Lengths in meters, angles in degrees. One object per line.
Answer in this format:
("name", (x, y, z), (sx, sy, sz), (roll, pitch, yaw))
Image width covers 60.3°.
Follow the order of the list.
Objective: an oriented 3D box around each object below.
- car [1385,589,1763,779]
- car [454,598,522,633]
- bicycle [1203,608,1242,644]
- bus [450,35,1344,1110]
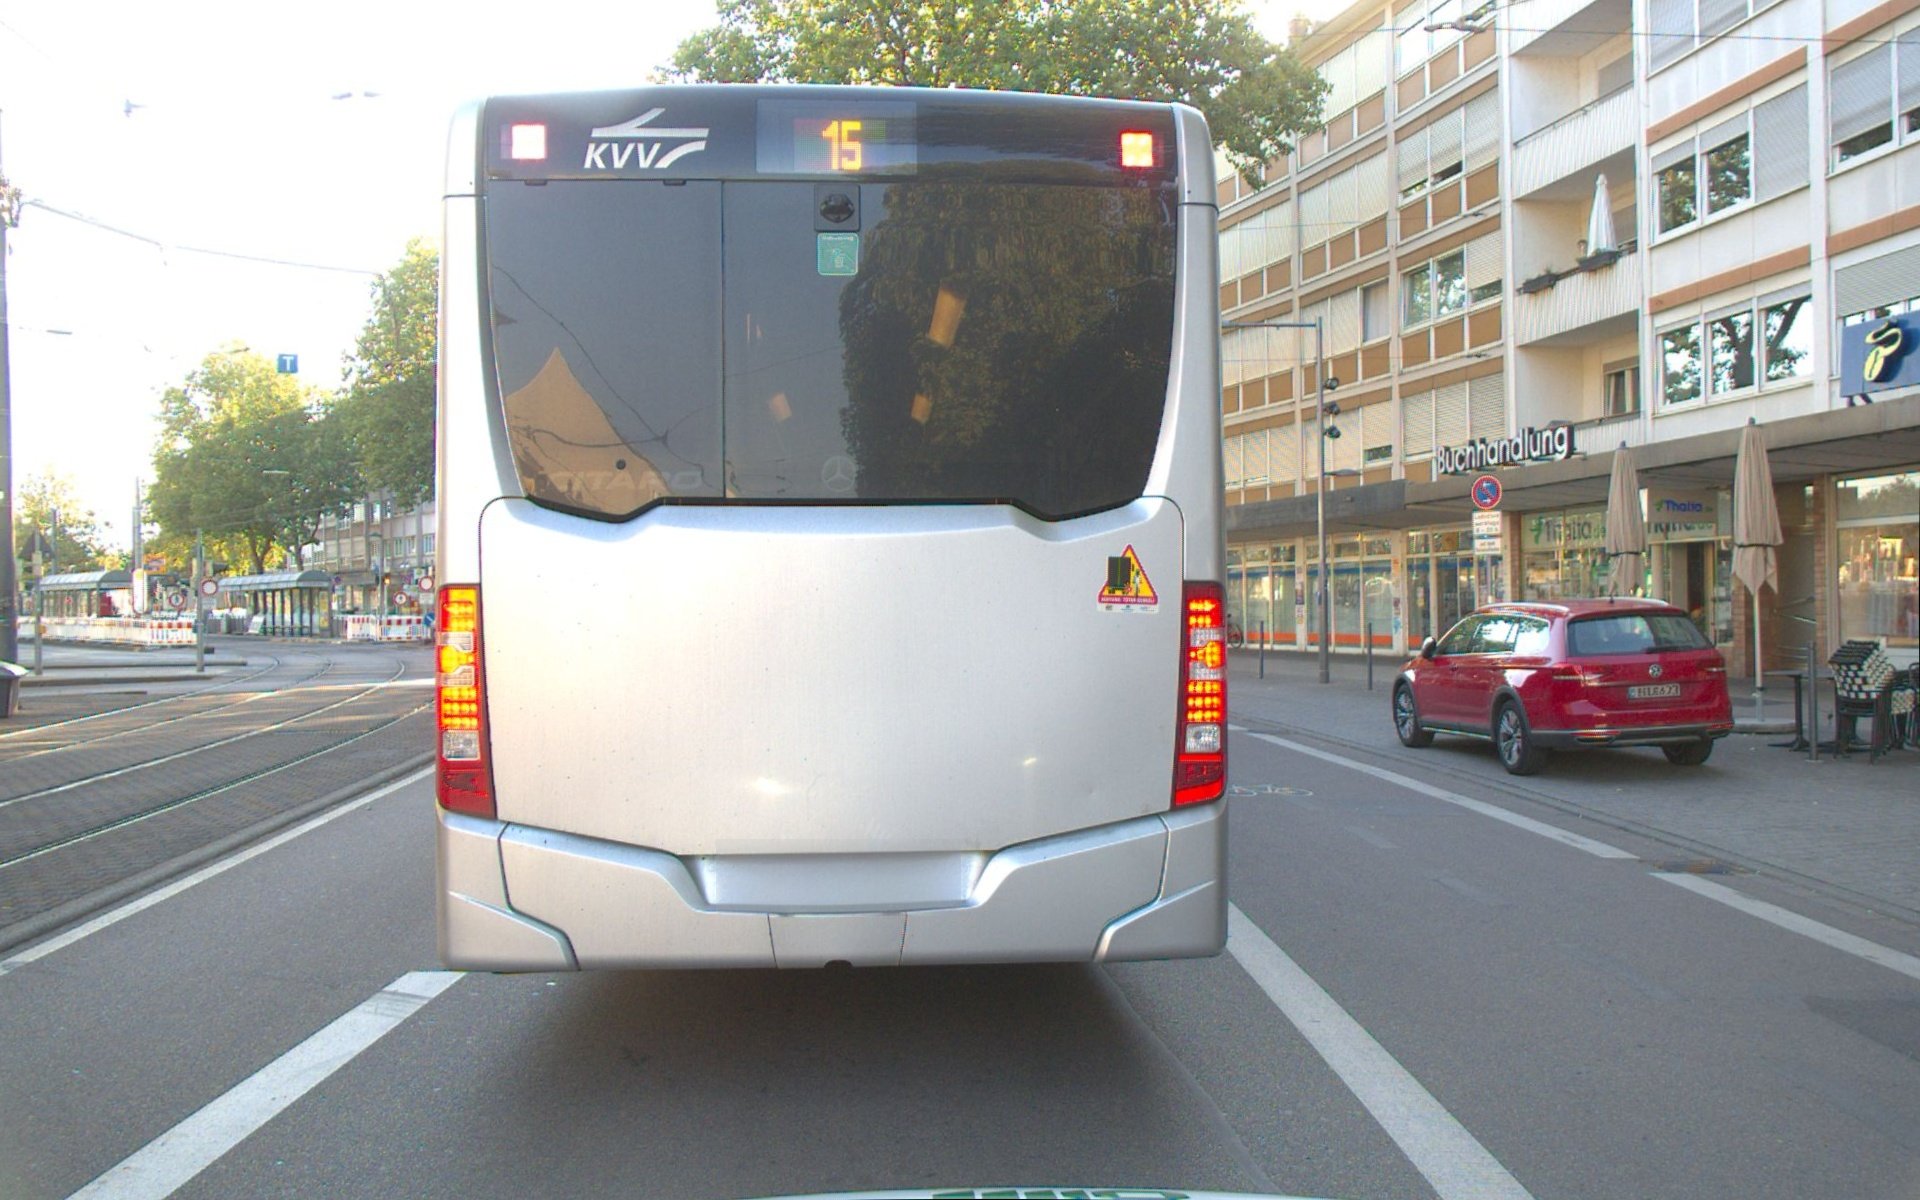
("car", (5.687, 0.701, 15.947), (1.735, 1.508, 4.299), (-2, 0, -4))
("car", (-24.975, 0.823, 87.497), (1.982, 1.823, 3.940), (1, -1, -41))
("bicycle", (7.239, 0.708, 45.624), (0.406, 0.961, 1.431), (-1, 0, -20))
("bus", (-0.378, -0.064, 9.797), (2.578, 3.081, 9.992), (0, 0, -3))
